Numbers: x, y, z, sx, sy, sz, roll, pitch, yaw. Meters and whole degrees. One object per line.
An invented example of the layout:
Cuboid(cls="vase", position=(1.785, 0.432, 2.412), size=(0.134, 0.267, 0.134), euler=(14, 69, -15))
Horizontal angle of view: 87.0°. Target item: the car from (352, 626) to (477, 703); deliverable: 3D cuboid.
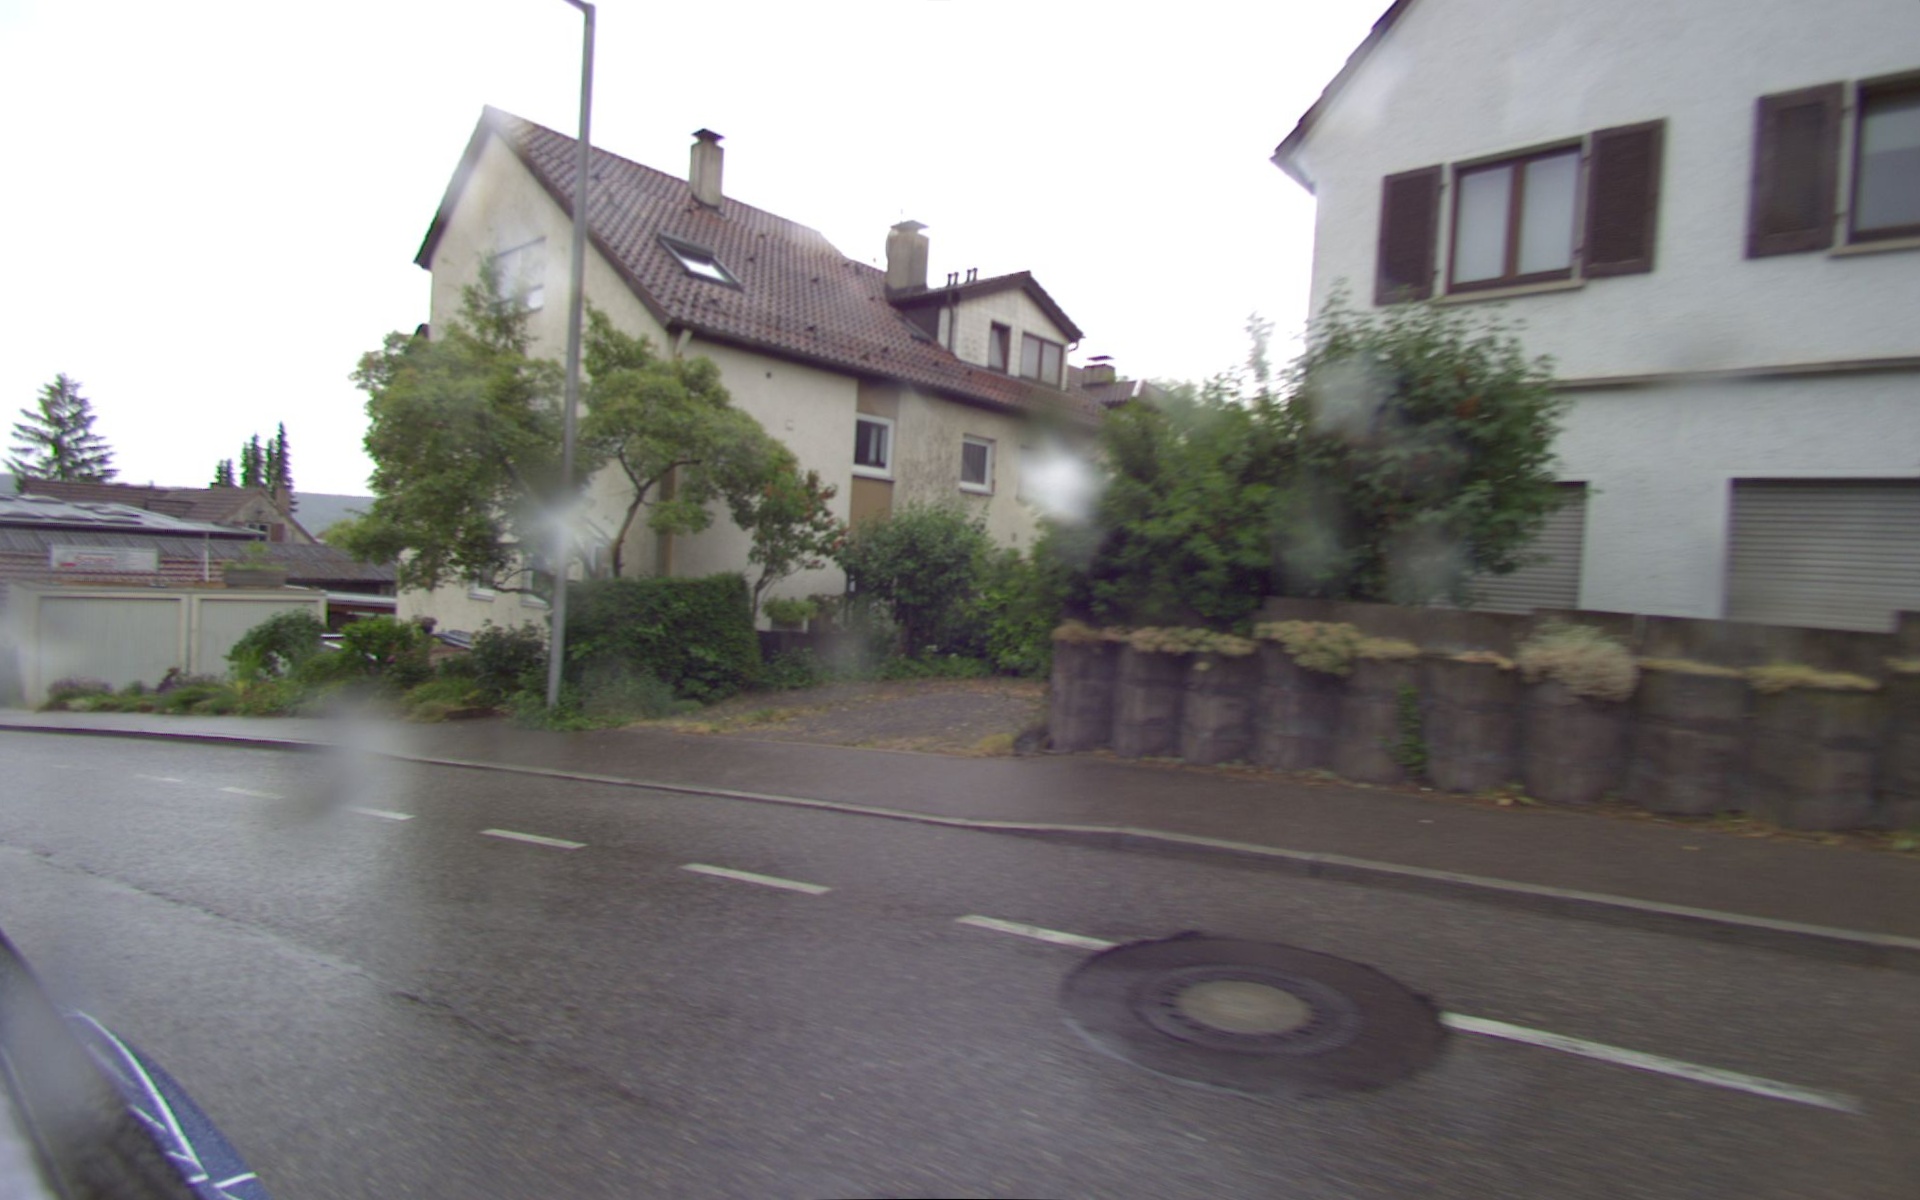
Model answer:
Cuboid(cls="car", position=(-16.852, 1.953, 31.197), size=(4.108, 2.016, 1.947), euler=(2, -2, 41))

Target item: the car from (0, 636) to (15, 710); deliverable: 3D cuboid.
Cuboid(cls="car", position=(-24.183, 1.735, 24.105), size=(4.959, 1.672, 1.954), euler=(-3, -2, 41))
